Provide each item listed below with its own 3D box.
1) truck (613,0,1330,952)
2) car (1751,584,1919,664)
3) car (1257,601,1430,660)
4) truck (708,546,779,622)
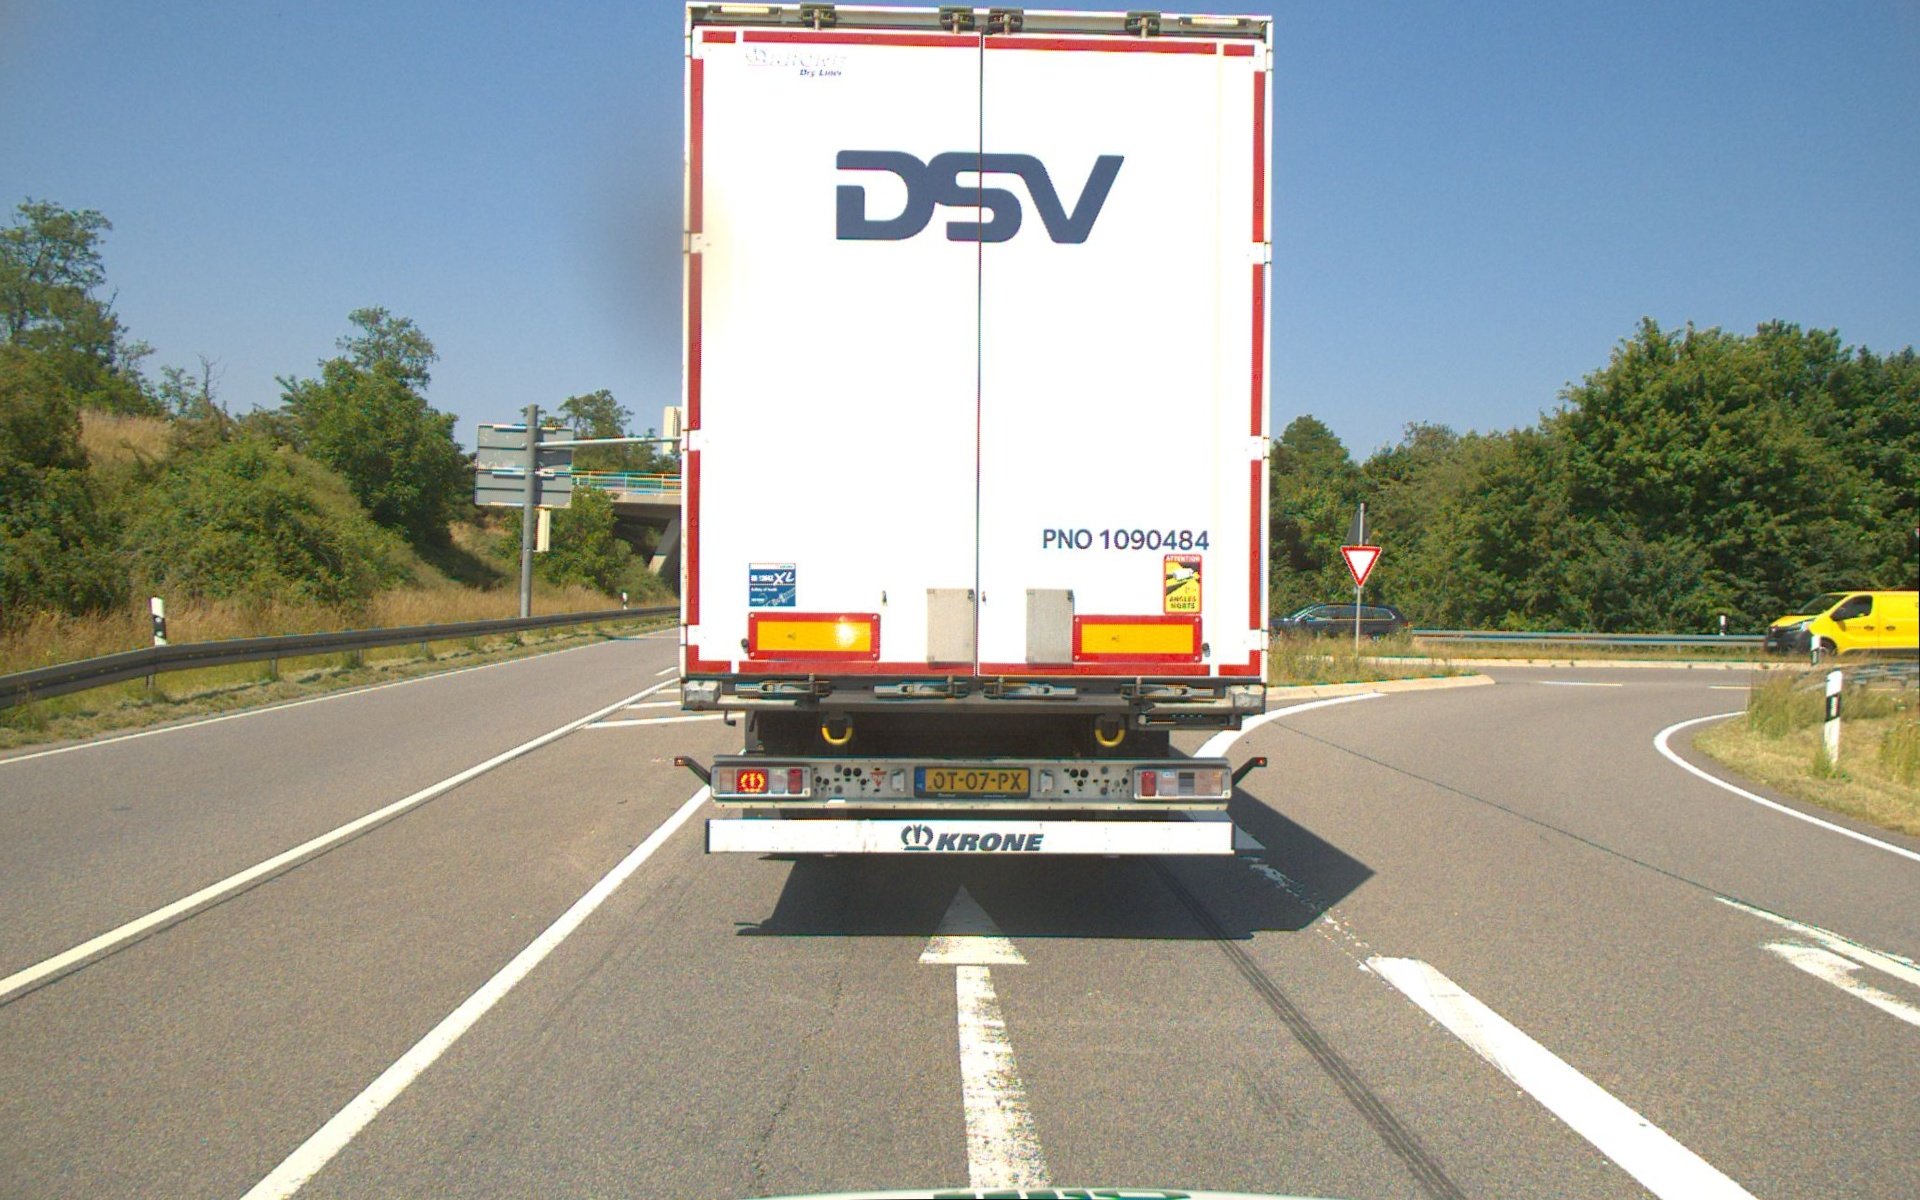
[{"bbox_3d":[-0.056,-0.559,11.780,2.927,4.011,9.872,1,0,-1],"label":"truck"},{"bbox_3d":[24.227,0.644,44.219,5.212,2.049,2.000,1,-1,1],"label":"car"},{"bbox_3d":[10.610,0.839,46.024,4.582,1.540,1.855,1,-1,11],"label":"car"},{"bbox_3d":[-10.812,-0.733,83.259,2.591,3.600,7.888,1,0,-1],"label":"truck"}]
